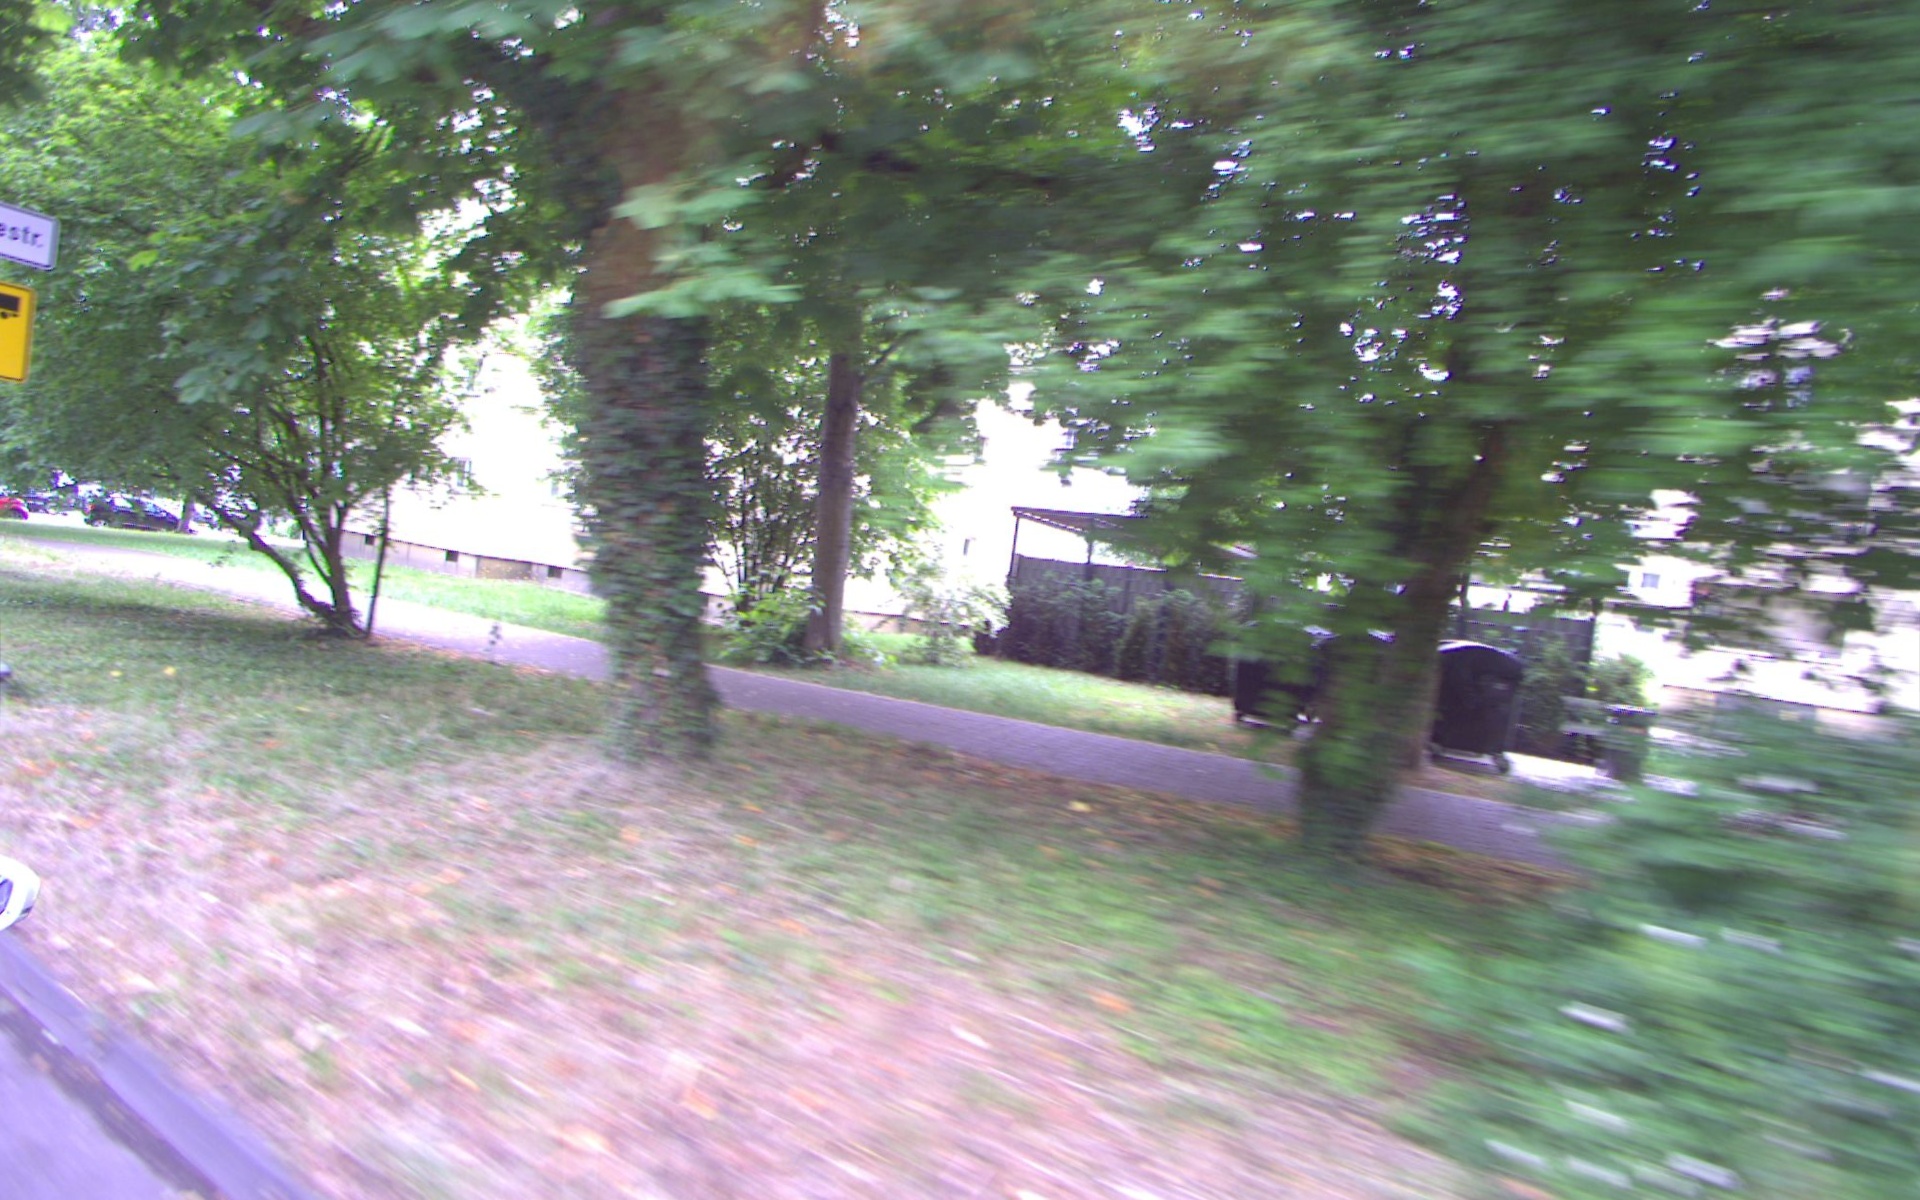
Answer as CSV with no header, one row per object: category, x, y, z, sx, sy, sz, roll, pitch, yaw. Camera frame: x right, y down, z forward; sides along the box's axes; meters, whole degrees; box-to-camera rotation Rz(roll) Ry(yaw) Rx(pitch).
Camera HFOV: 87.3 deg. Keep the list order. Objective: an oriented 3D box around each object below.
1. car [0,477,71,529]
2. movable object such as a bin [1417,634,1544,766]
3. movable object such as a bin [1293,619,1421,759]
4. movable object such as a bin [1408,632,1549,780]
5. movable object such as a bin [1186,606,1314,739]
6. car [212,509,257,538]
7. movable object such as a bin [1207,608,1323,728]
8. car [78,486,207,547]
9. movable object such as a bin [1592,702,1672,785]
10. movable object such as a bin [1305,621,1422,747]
car,-37.392,-3.944,39.069,1.773,1.576,3.985,11,1,39
movable object such as a bin,6.952,1.294,13.551,1.291,1.521,1.329,7,2,25
movable object such as a bin,5.071,1.087,12.812,1.291,1.521,1.329,7,2,25
movable object such as a bin,6.262,1.233,12.261,1.291,1.521,1.329,7,2,25
movable object such as a bin,3.871,0.924,13.368,1.291,1.521,1.329,7,2,25
car,-47.557,-5.019,65.930,2.073,1.529,3.955,6,1,-40
movable object such as a bin,4.475,0.965,14.707,1.291,1.521,1.329,7,2,25
car,-34.179,-3.482,42.202,3.970,1.747,1.780,9,1,-38
movable object such as a bin,8.474,1.797,12.711,0.657,0.890,0.600,7,2,25
movable object such as a bin,5.691,1.138,14.156,1.291,1.521,1.329,7,2,25
